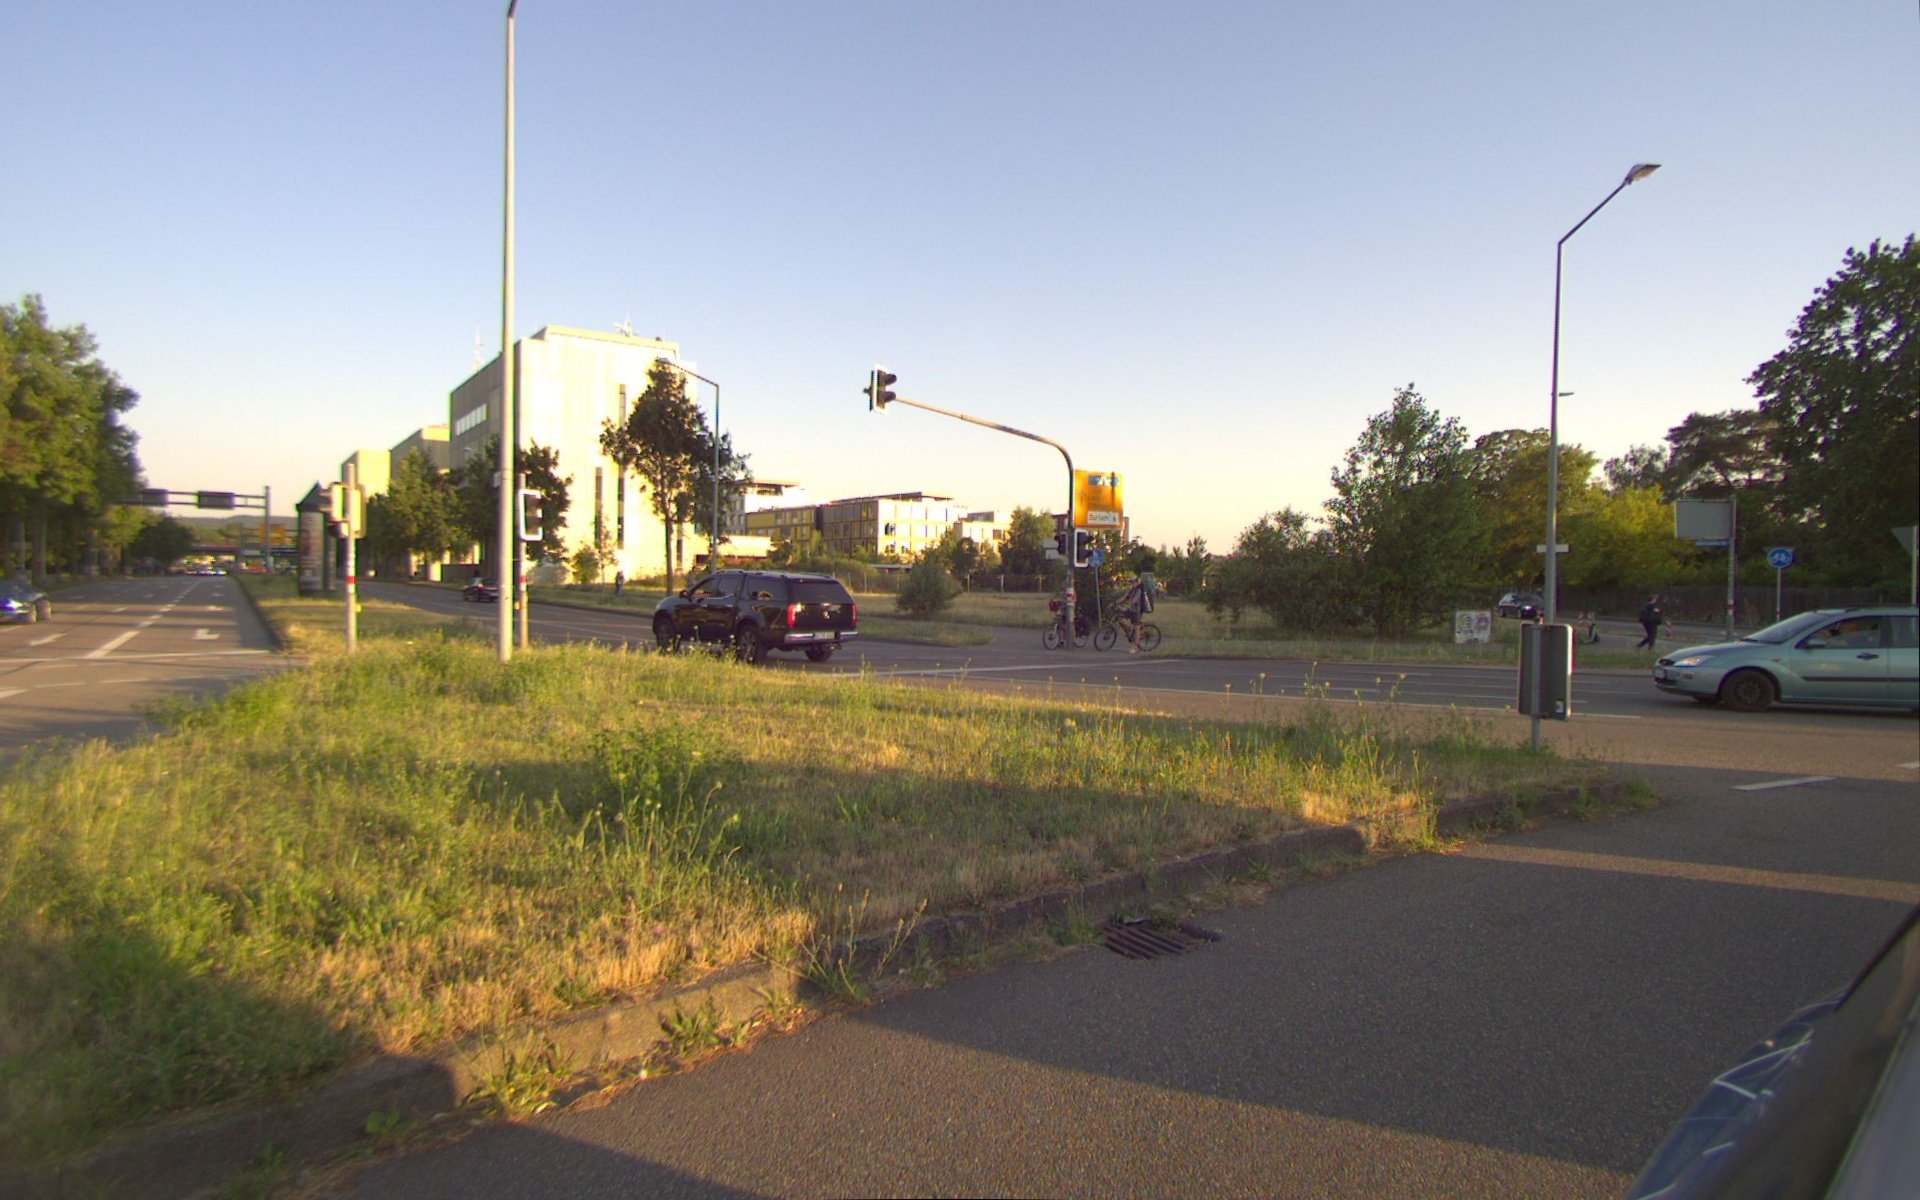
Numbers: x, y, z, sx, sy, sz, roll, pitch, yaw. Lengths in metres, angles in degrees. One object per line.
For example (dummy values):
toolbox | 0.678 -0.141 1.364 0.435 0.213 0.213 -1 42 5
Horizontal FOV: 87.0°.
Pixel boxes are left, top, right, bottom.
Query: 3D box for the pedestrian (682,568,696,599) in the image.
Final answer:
pedestrian | -14.735 -0.906 55.002 0.555 1.705 0.520 0 1 -35

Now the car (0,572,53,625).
car | -29.801 -0.098 31.413 1.963 1.524 4.771 0 1 -36

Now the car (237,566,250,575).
car | -140.069 -5.763 197.819 1.964 1.649 3.997 0 1 -38

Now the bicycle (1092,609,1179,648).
bicycle | 4.543 0.731 26.257 2.100 0.975 0.711 1 1 -15

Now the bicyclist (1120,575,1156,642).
bicyclist | 4.615 0.209 26.278 0.674 1.711 0.727 1 1 -13

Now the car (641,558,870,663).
car | -4.298 0.119 20.601 1.967 1.835 5.292 1 1 -45

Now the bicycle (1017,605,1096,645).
bicycle | 2.616 0.659 27.362 2.065 0.975 0.711 -2 2 -27

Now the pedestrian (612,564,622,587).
pedestrian | -22.667 -1.629 66.923 0.492 1.531 0.530 0 1 -35

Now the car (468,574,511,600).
car | -27.111 -0.786 58.241 1.717 1.396 4.129 0 2 -33

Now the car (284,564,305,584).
car | -72.766 -2.847 110.632 1.961 2.039 4.002 0 1 -34

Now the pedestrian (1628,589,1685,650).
pedestrian | 19.053 0.507 27.719 0.977 1.610 0.923 1 1 13

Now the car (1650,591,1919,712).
car | 12.401 0.665 14.048 4.259 1.510 1.986 1 1 21

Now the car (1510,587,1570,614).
car | 33.606 0.001 58.751 1.970 1.504 3.984 1 1 14

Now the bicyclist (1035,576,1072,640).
bicyclist | 2.530 0.207 27.344 0.675 1.711 0.726 0 1 -29

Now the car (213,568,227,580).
car | -134.020 -4.722 183.352 1.963 2.039 3.998 0 0 -36
